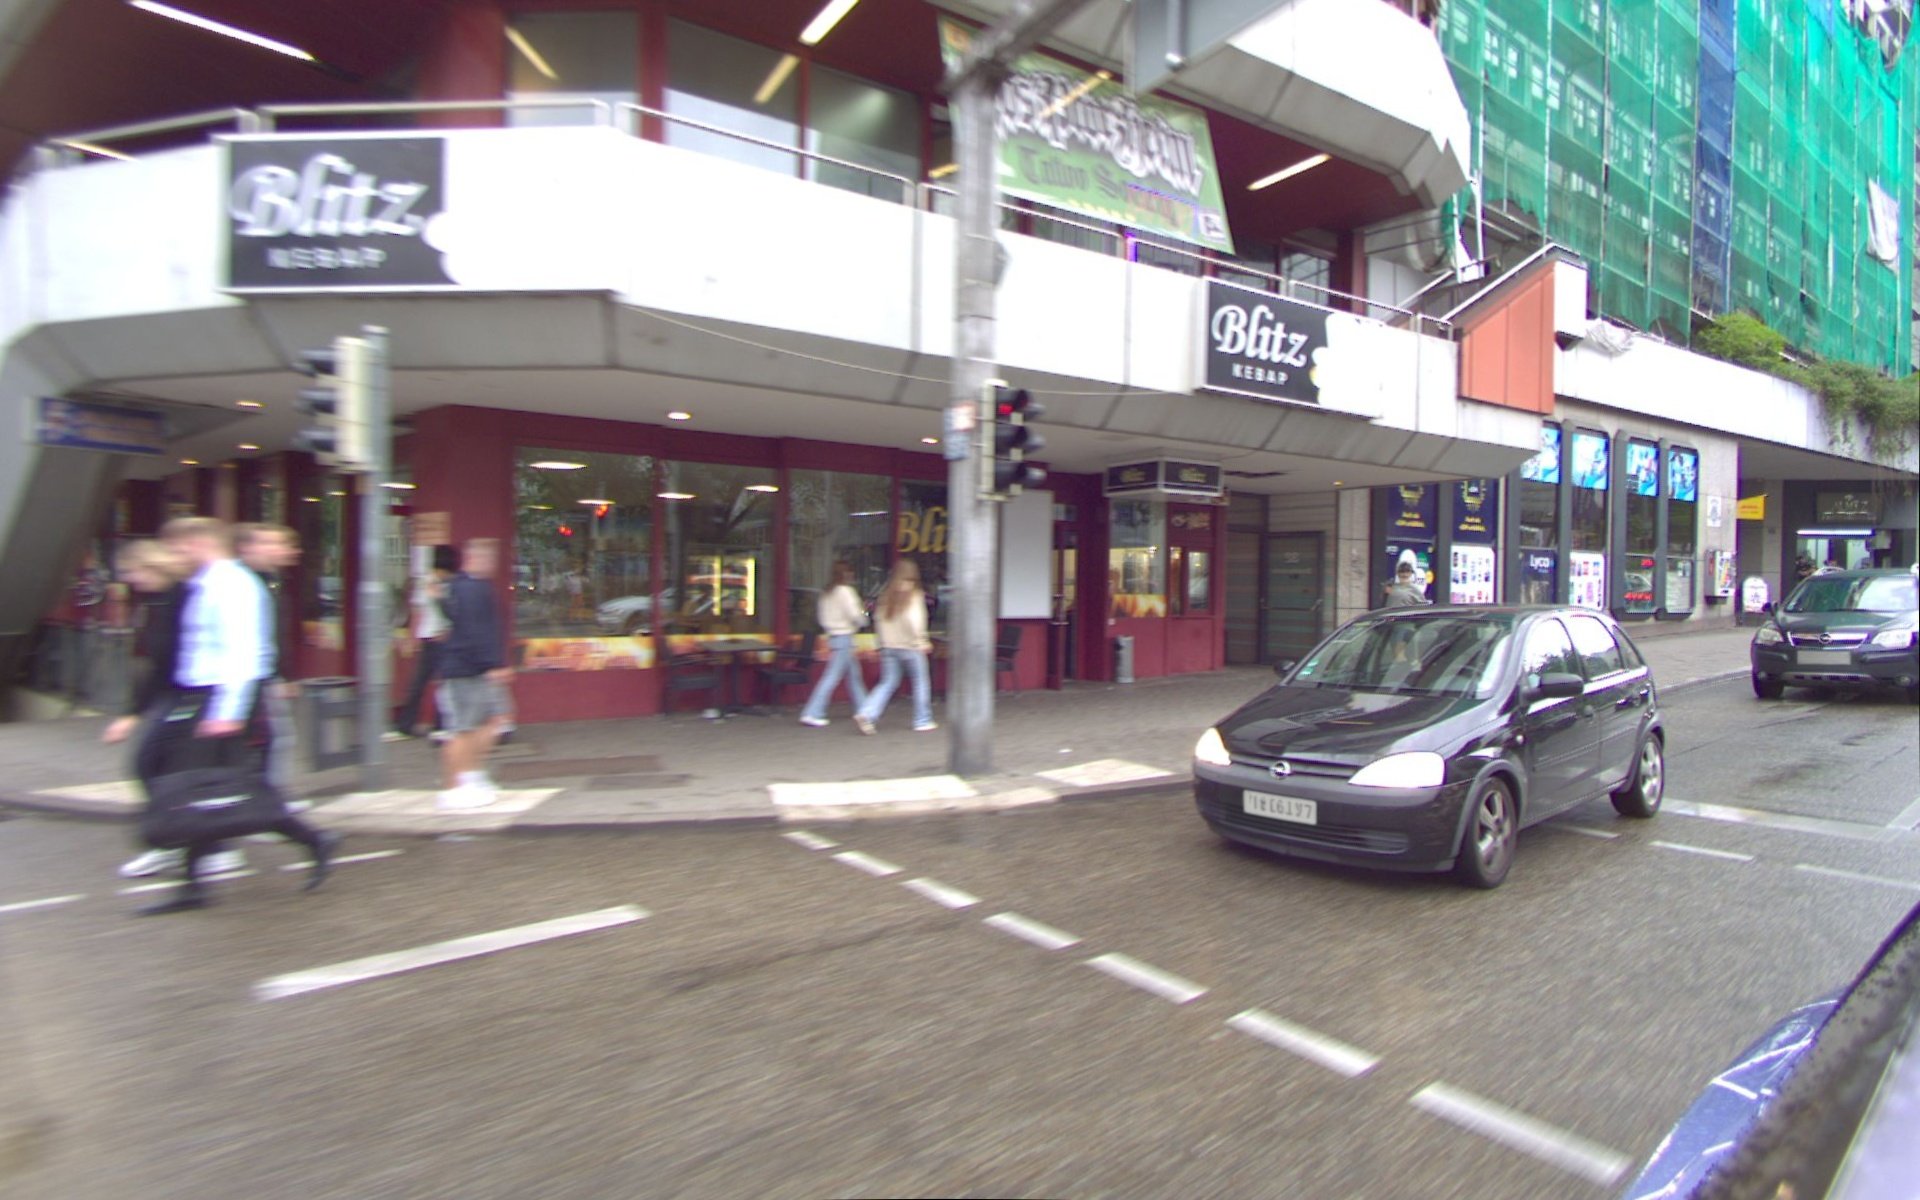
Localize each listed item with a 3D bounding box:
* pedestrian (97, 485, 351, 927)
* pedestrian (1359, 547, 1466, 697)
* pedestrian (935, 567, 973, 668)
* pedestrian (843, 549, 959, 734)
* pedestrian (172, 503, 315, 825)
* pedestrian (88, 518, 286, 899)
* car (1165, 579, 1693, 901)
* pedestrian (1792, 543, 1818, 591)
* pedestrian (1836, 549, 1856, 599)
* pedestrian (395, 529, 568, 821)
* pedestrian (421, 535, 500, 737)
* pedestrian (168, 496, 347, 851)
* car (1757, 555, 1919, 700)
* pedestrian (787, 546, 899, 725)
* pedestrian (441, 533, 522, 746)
[{"bbox_3d":[-3.388,0.428,4.747,0.831,1.869,0.625,-3,2,-30],"label":"pedestrian"},{"bbox_3d":[5.860,0.248,13.134,0.790,1.799,0.900,-3,7,-33],"label":"pedestrian"},{"bbox_3d":[-0.091,0.259,15.453,0.452,1.505,0.507,0,3,15],"label":"pedestrian"},{"bbox_3d":[-0.569,0.368,9.726,0.922,1.683,0.576,0,2,-35],"label":"pedestrian"},{"bbox_3d":[-4.605,0.364,6.507,0.664,1.919,0.734,-2,2,-37],"label":"pedestrian"},{"bbox_3d":[-3.931,0.498,5.205,0.664,1.795,0.625,-3,2,-30],"label":"pedestrian"},{"bbox_3d":[3.064,0.623,6.336,3.562,1.459,1.596,0,0,-39],"label":"car"},{"bbox_3d":[27.123,-1.069,32.492,0.518,1.506,0.426,0,3,22],"label":"pedestrian"},{"bbox_3d":[27.438,-0.803,31.333,0.516,1.506,0.428,-4,4,-45],"label":"pedestrian"},{"bbox_3d":[-3.227,0.458,6.824,0.872,1.802,0.749,-1,0,-40],"label":"pedestrian"},{"bbox_3d":[-4.601,0.308,9.319,0.502,1.785,0.527,-3,2,-36],"label":"pedestrian"},{"bbox_3d":[-4.170,0.380,6.019,0.775,1.925,0.760,-2,2,-37],"label":"pedestrian"},{"bbox_3d":[12.629,0.262,13.826,4.172,1.699,1.735,-3,1,-37],"label":"car"},{"bbox_3d":[-1.188,0.331,10.285,0.952,1.727,0.591,0,2,-35],"label":"pedestrian"},{"bbox_3d":[-4.203,0.321,8.885,0.484,1.785,0.597,-3,2,-36],"label":"pedestrian"}]
